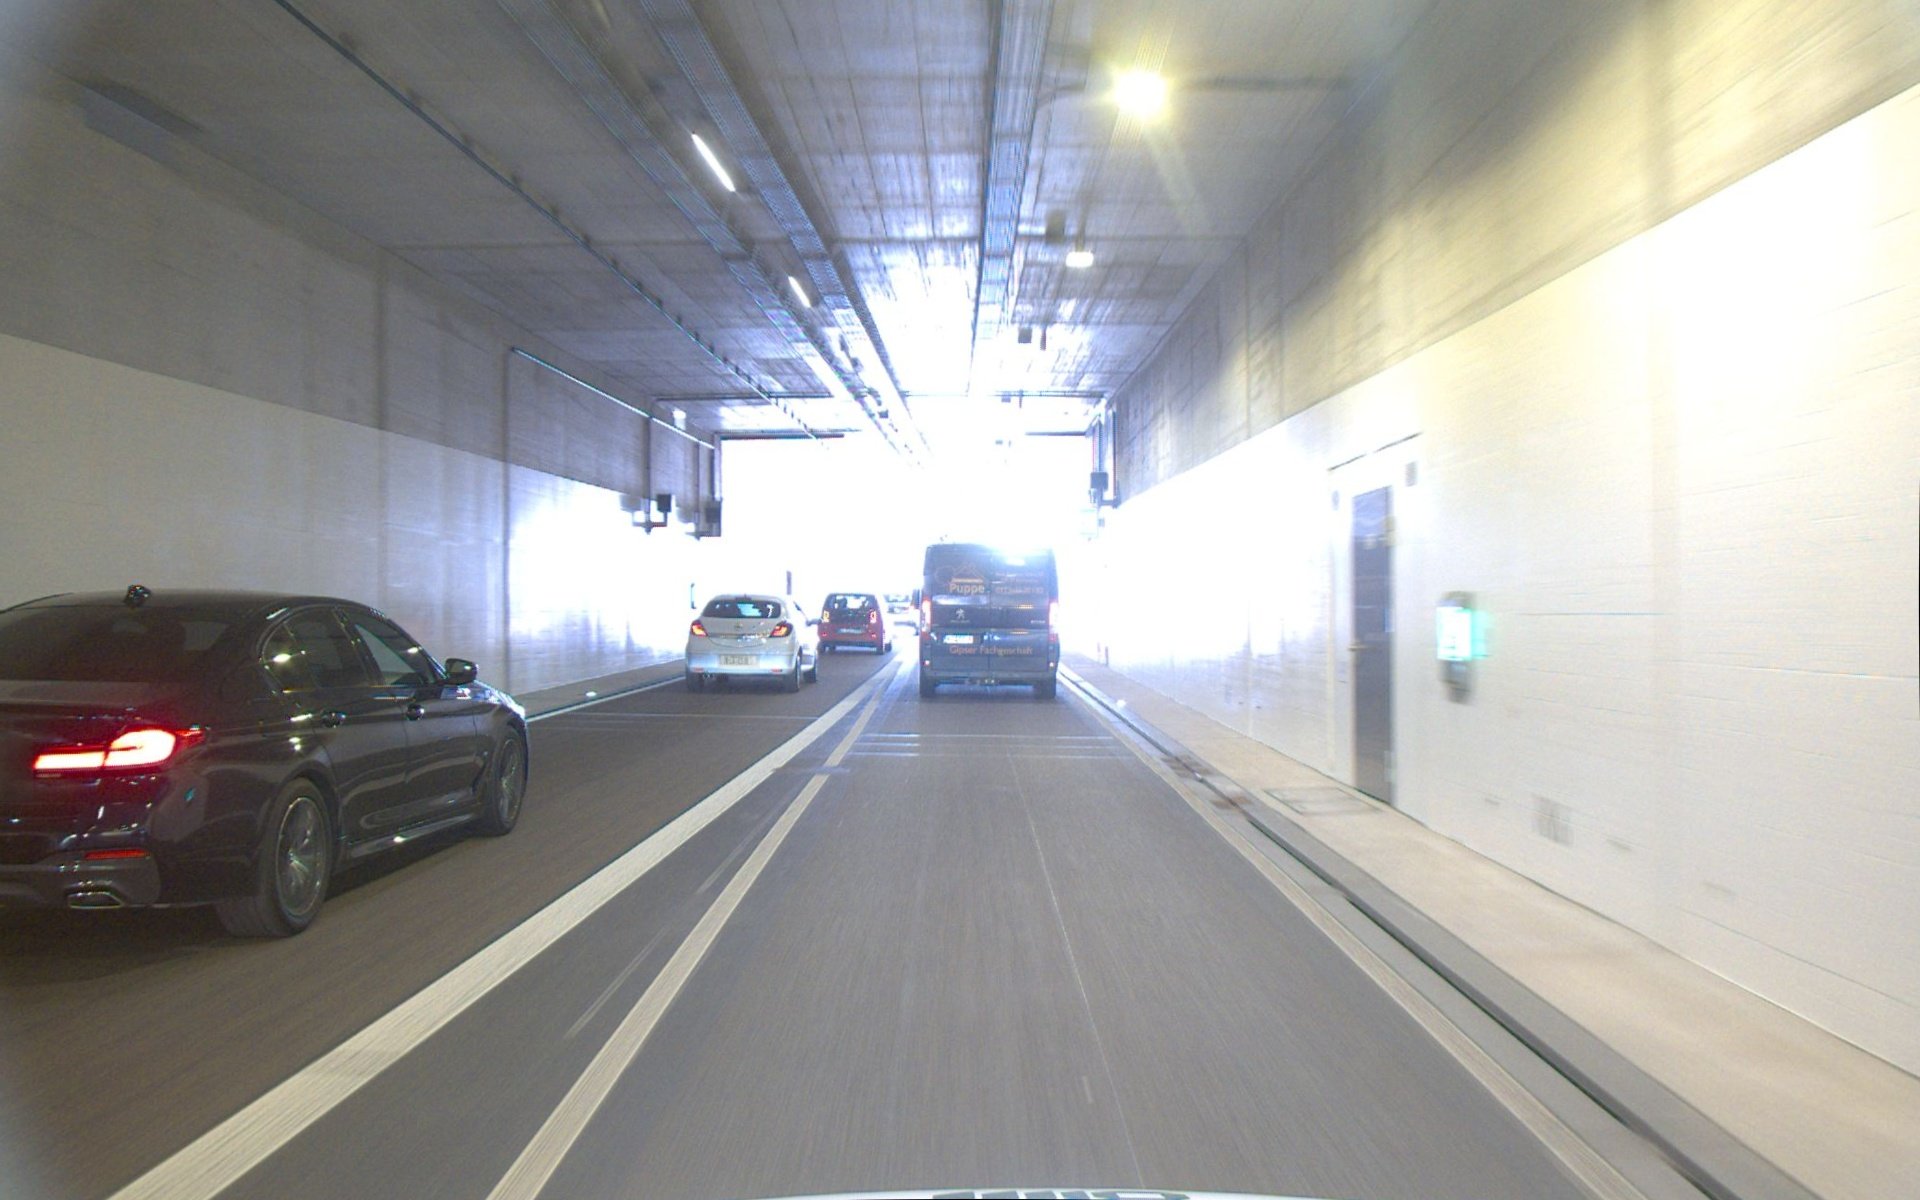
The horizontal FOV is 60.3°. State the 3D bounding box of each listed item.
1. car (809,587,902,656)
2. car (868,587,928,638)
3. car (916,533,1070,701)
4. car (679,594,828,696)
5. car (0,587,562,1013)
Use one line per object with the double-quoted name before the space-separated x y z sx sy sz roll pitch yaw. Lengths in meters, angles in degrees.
"car" -2.481 0.475 40.305 1.777 1.538 4.222 2 0 2
"car" -2.052 0.437 55.843 1.838 1.609 4.220 2 -1 0
"car" 0.492 0.204 25.276 2.114 2.305 4.637 1 1 1
"car" -3.098 0.629 25.493 1.673 1.438 3.975 0 0 2
"car" -3.532 0.695 8.281 1.660 1.447 4.853 2 0 2
